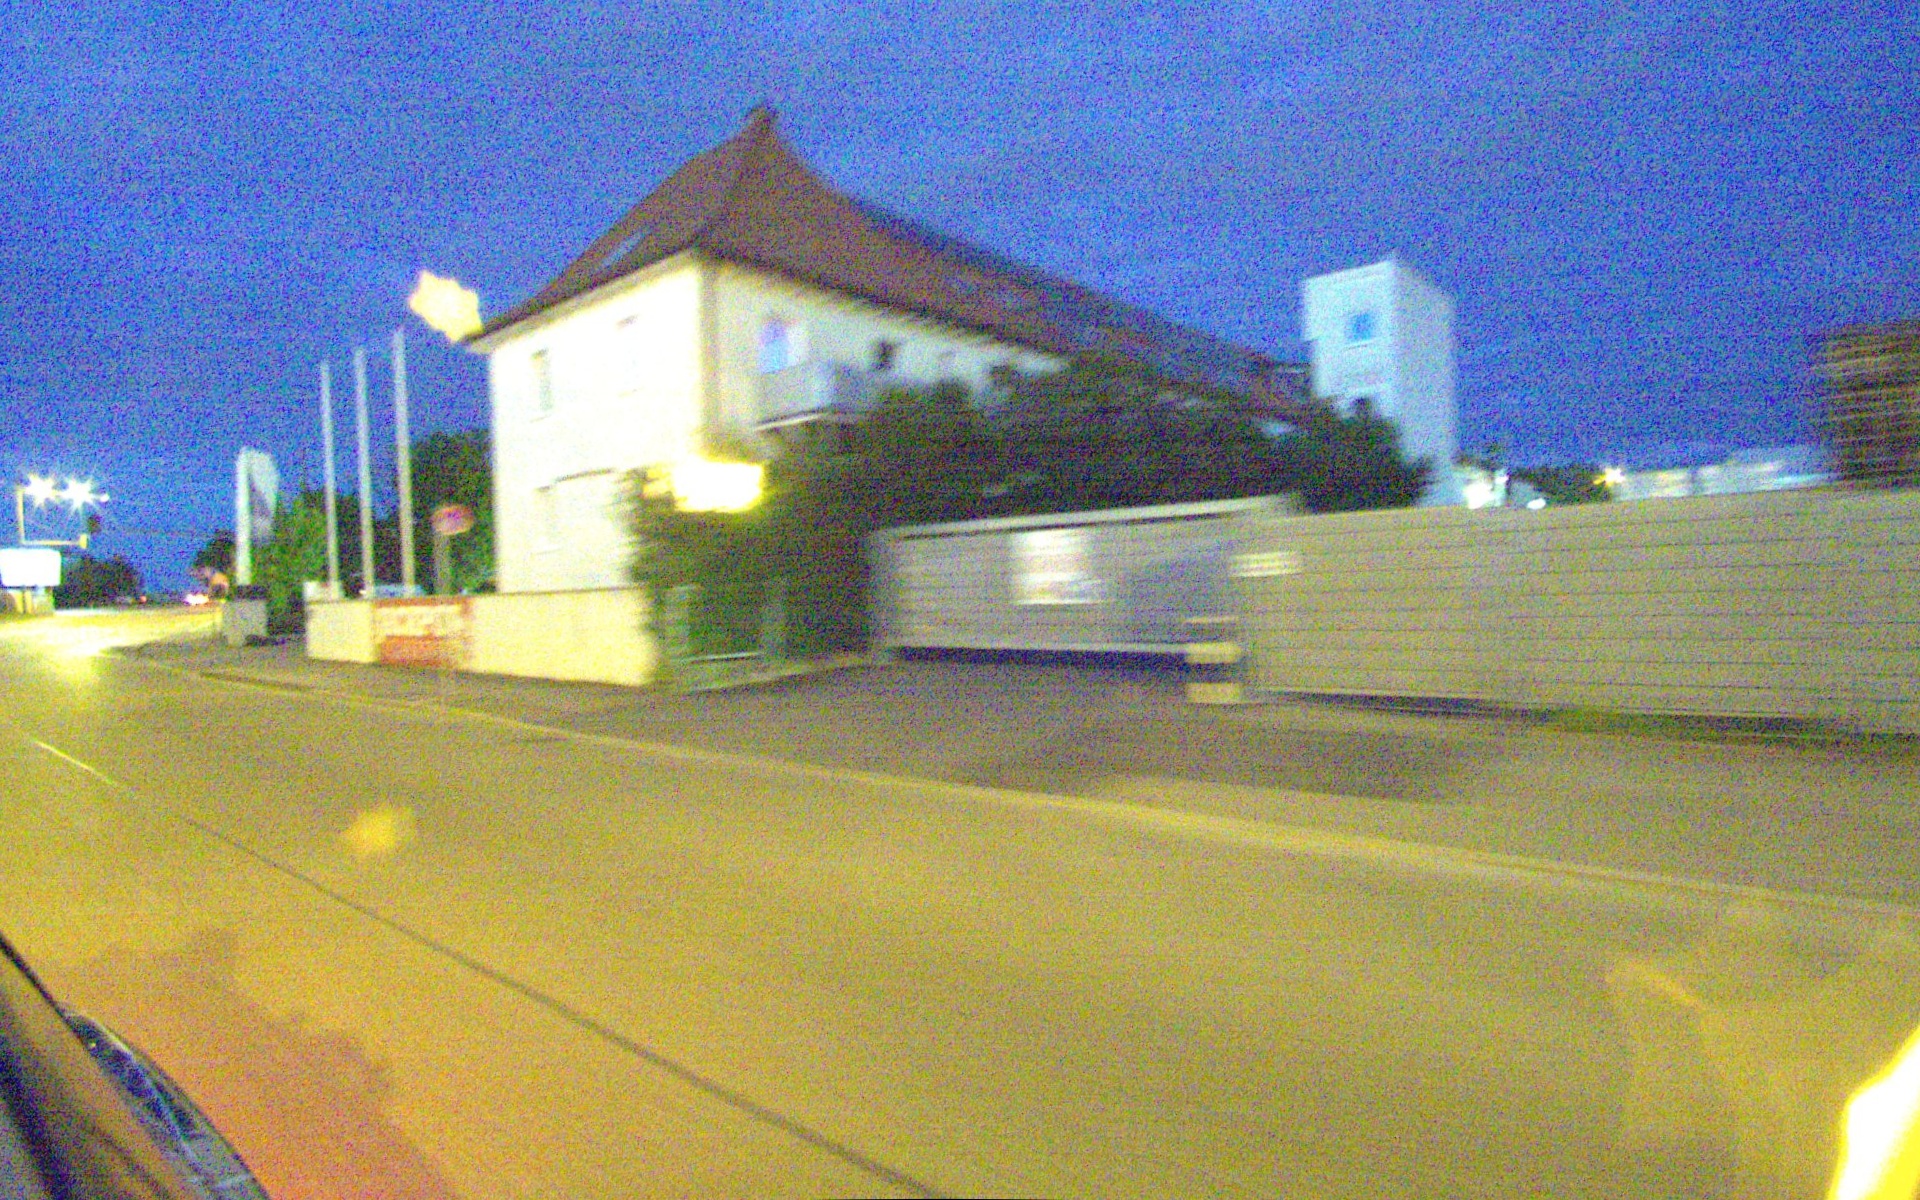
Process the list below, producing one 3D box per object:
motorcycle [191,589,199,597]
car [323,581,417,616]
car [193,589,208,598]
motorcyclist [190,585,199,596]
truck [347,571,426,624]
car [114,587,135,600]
[{"bbox_3d":[-134.386,-1.281,177.682,0.984,1.314,2.832,-2,2,-39],"label":"motorcycle"},{"bbox_3d":[-32.283,-0.100,55.410,4.076,1.785,2.003,-2,2,-42],"label":"car"},{"bbox_3d":[-147.043,-1.330,195.949,1.967,1.639,4.765,-2,2,-34],"label":"car"},{"bbox_3d":[-134.324,-1.685,177.611,1.119,1.914,0.835,-2,2,-39],"label":"motorcyclist"},{"bbox_3d":[-22.873,-0.131,40.261,1.968,1.914,5.328,-2,2,-38],"label":"truck"},{"bbox_3d":[-108.309,-0.840,131.166,1.910,1.563,4.008,-2,2,-38],"label":"car"}]
